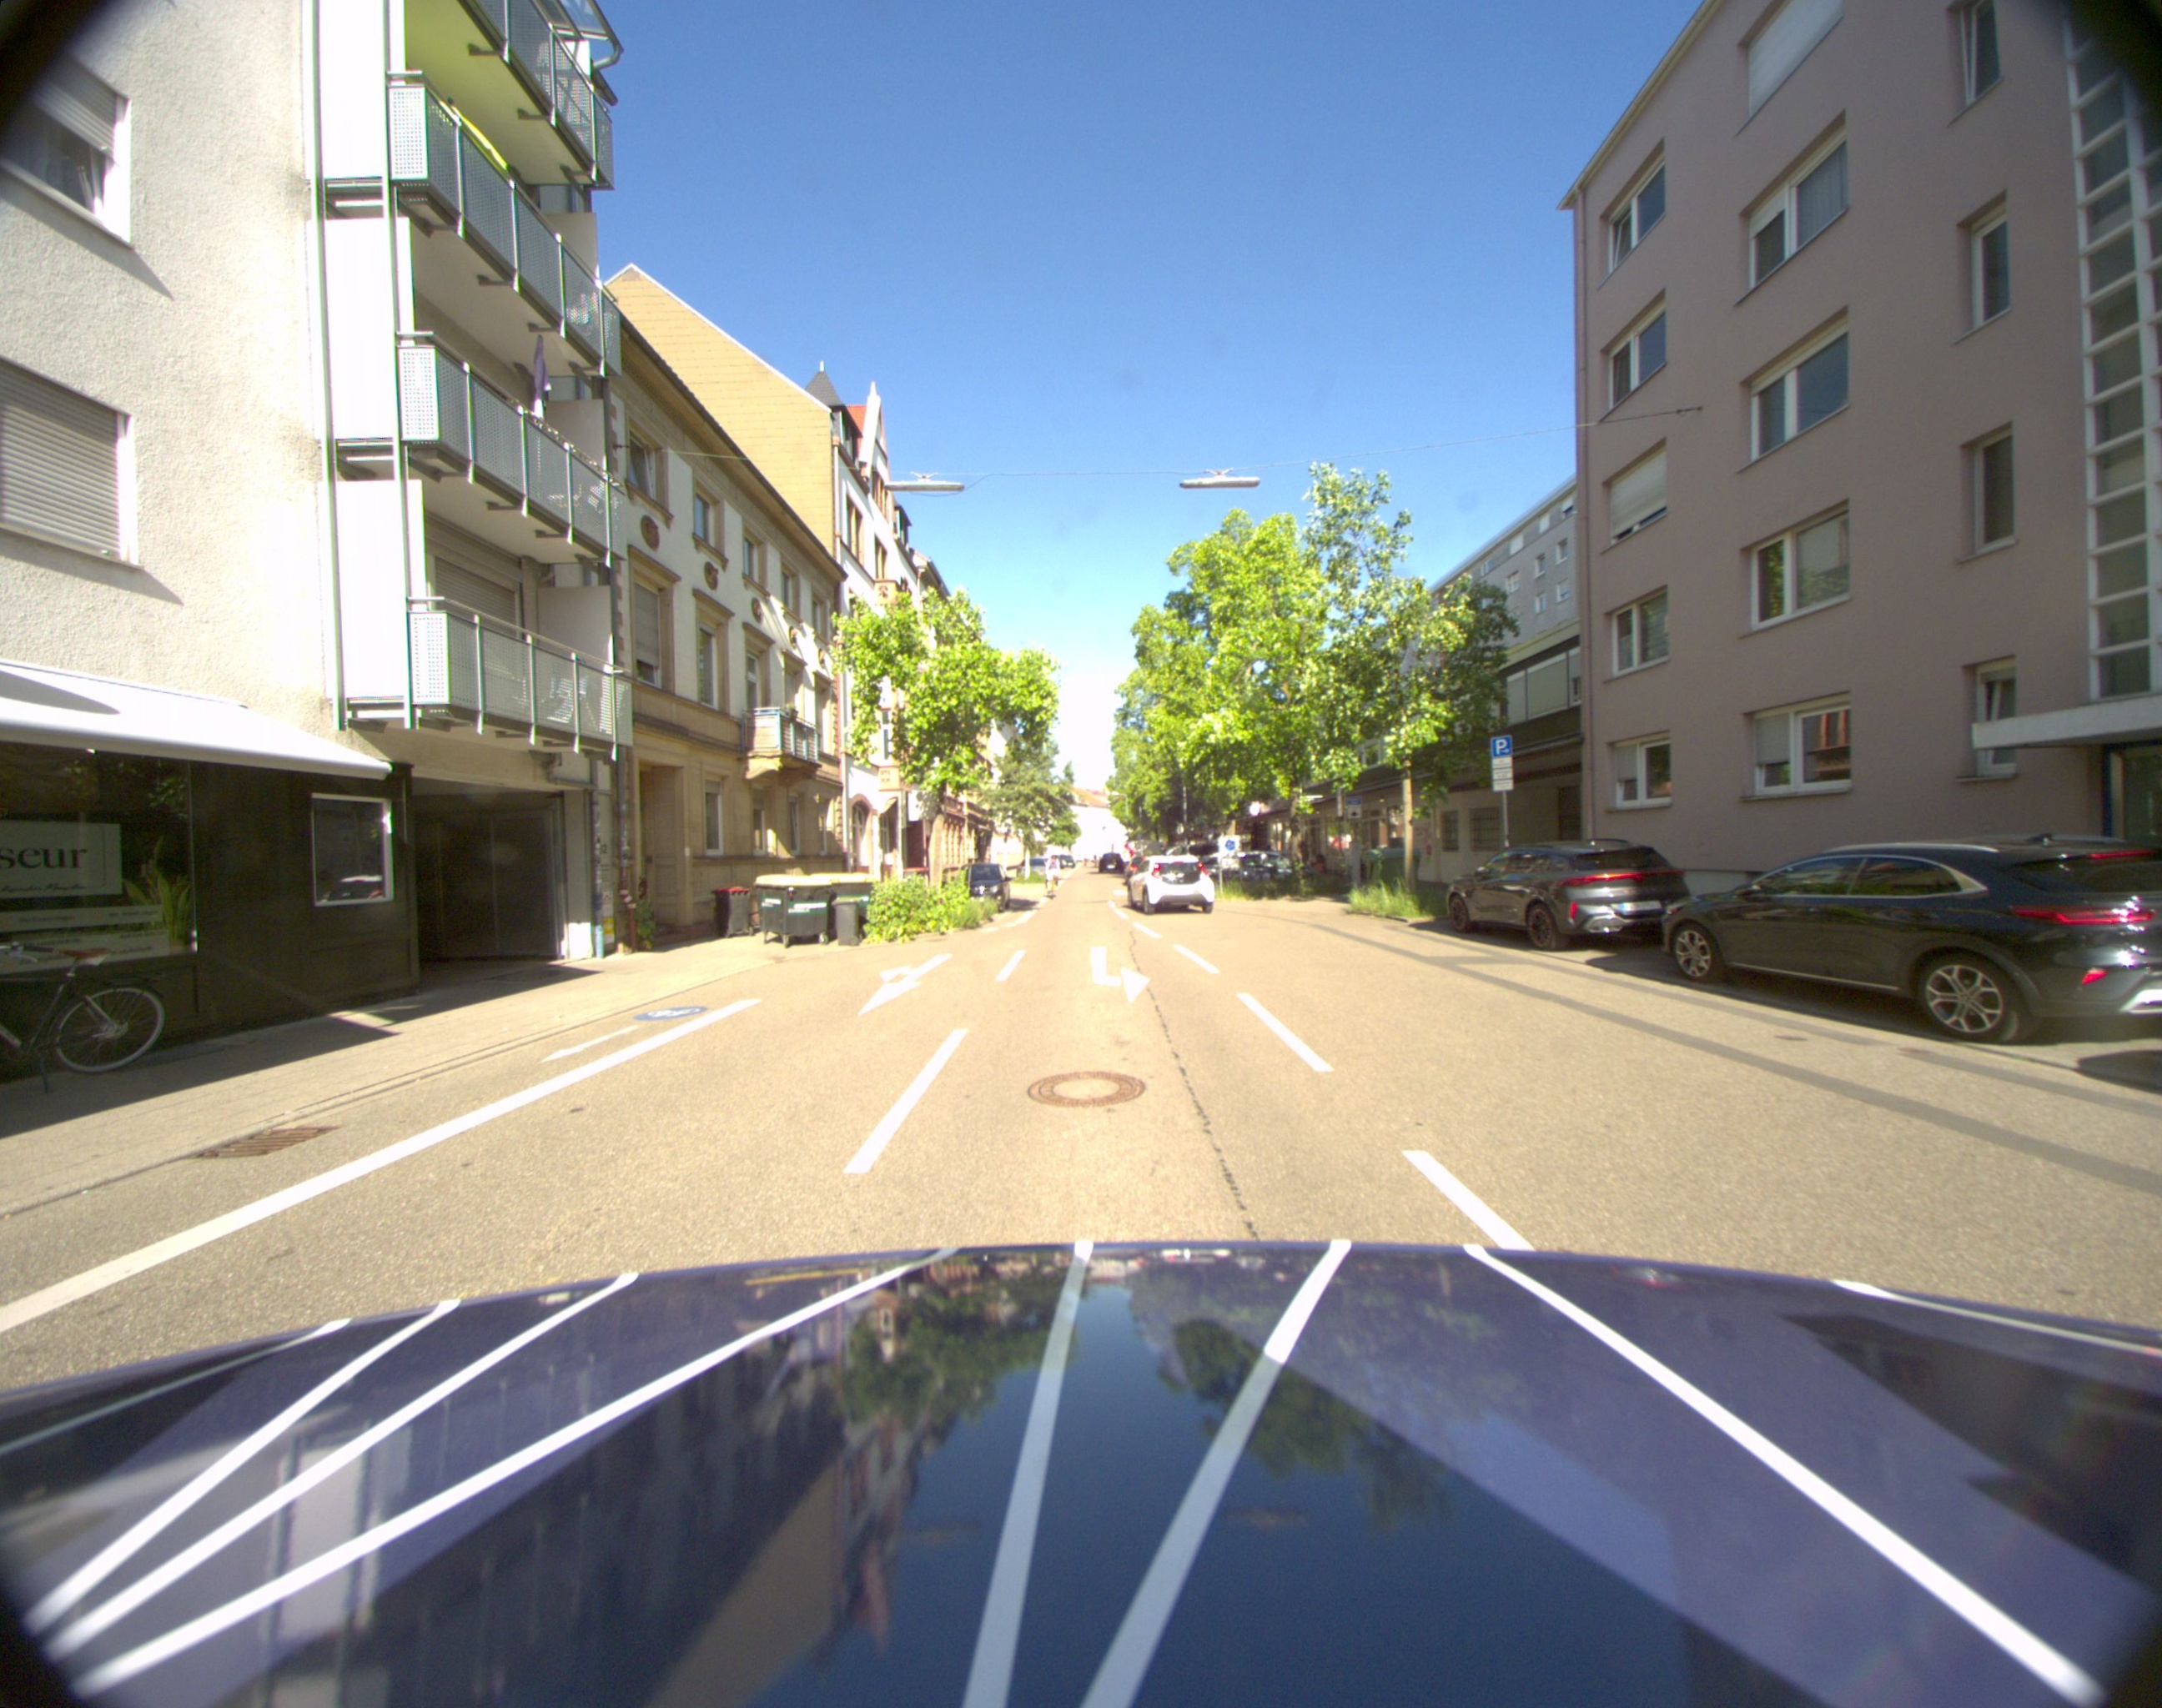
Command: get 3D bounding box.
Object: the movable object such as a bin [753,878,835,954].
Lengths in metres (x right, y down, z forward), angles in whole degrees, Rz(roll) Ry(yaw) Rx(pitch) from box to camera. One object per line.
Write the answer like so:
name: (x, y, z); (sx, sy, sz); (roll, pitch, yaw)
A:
movable object such as a bin: (-5.587, 1.163, 14.777); (1.212, 1.318, 1.052); (2, 3, 42)

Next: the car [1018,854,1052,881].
car: (-2.741, 0.771, 45.888); (1.759, 1.492, 3.949); (-2, 0, 0)

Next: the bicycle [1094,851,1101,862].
bicycle: (1.849, 0.255, 84.596); (0.778, 1.139, 2.259); (-3, 1, 1)

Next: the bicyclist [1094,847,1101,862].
bicyclist: (1.840, 0.029, 84.642); (0.748, 1.588, 0.613); (-3, 1, 1)

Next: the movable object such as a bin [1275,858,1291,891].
movable object such as a bin: (7.622, 0.786, 28.674); (0.488, 1.218, 0.409); (-2, 1, 1)

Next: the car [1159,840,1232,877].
car: (6.710, 0.268, 44.775); (3.997, 2.020, 2.000); (-2, 1, 1)

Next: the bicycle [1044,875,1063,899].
bicycle: (-1.083, 1.264, 29.611); (0.612, 0.876, 1.813); (-1, -1, -5)

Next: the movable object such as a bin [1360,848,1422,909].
movable object such as a bin: (8.136, 0.637, 19.992); (1.247, 1.536, 1.019); (-2, 1, 5)

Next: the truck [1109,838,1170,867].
truck: (5.519, -0.179, 71.654); (5.322, 2.581, 1.998); (-2, 1, -9)

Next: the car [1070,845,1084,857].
car: (-0.650, -0.493, 126.510); (1.998, 2.002, 4.000); (-2, 0, 1)

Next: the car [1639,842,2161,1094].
car: (7.516, 0.708, 6.915); (1.821, 1.499, 4.245); (-4, 0, 2)

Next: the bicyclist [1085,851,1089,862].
bicyclist: (0.764, 0.350, 99.188); (0.417, 1.415, 0.324); (-2, 1, 1)

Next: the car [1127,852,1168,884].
car: (3.278, 0.676, 38.000); (1.867, 1.455, 4.000); (-1, 0, 3)

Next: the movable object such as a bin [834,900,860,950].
movable object such as a bin: (-4.577, 1.387, 14.889); (0.401, 0.916, 0.484); (0, 2, -7)

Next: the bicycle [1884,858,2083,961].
bicycle: (10.761, 0.616, 9.153); (0.391, 1.070, 1.650); (-6, 0, 2)

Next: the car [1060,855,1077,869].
car: (-1.351, 0.831, 83.945); (1.653, 1.447, 3.290); (-2, 0, 1)

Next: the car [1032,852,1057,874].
car: (-2.627, 0.660, 55.203); (1.653, 1.483, 3.290); (-2, 0, 0)

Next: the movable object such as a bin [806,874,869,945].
movable object such as a bin: (-5.084, 1.126, 15.854); (0.960, 1.341, 1.066); (-1, 2, -38)

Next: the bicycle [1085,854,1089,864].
bicycle: (0.760, 0.589, 99.210); (0.422, 1.292, 1.762); (-1, 0, 0)

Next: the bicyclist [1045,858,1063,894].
bicyclist: (-1.053, 0.851, 29.331); (0.610, 1.338, 1.018); (-2, 0, -5)

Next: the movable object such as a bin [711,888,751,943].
movable object such as a bin: (-7.318, 1.275, 15.893); (0.615, 1.075, 0.568); (2, 3, 42)

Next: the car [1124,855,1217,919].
car: (2.333, 0.825, 20.772); (1.770, 1.528, 3.784); (-2, 0, -5)

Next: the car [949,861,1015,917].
car: (-2.967, 1.016, 23.365); (1.551, 1.483, 3.351); (-2, 0, 0)

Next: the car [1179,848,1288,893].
car: (6.091, 0.638, 30.668); (3.997, 1.665, 2.000); (-2, 1, 1)

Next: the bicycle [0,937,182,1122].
bicycle: (-7.746, 1.284, 5.447); (0.402, 1.171, 1.792); (-2, 0, 1)

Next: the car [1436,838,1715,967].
car: (7.591, 0.646, 12.256); (1.821, 1.583, 4.141); (-5, 0, 2)

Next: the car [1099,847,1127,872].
car: (2.466, 0.396, 58.678); (1.994, 1.599, 4.259); (-3, 3, 1)
